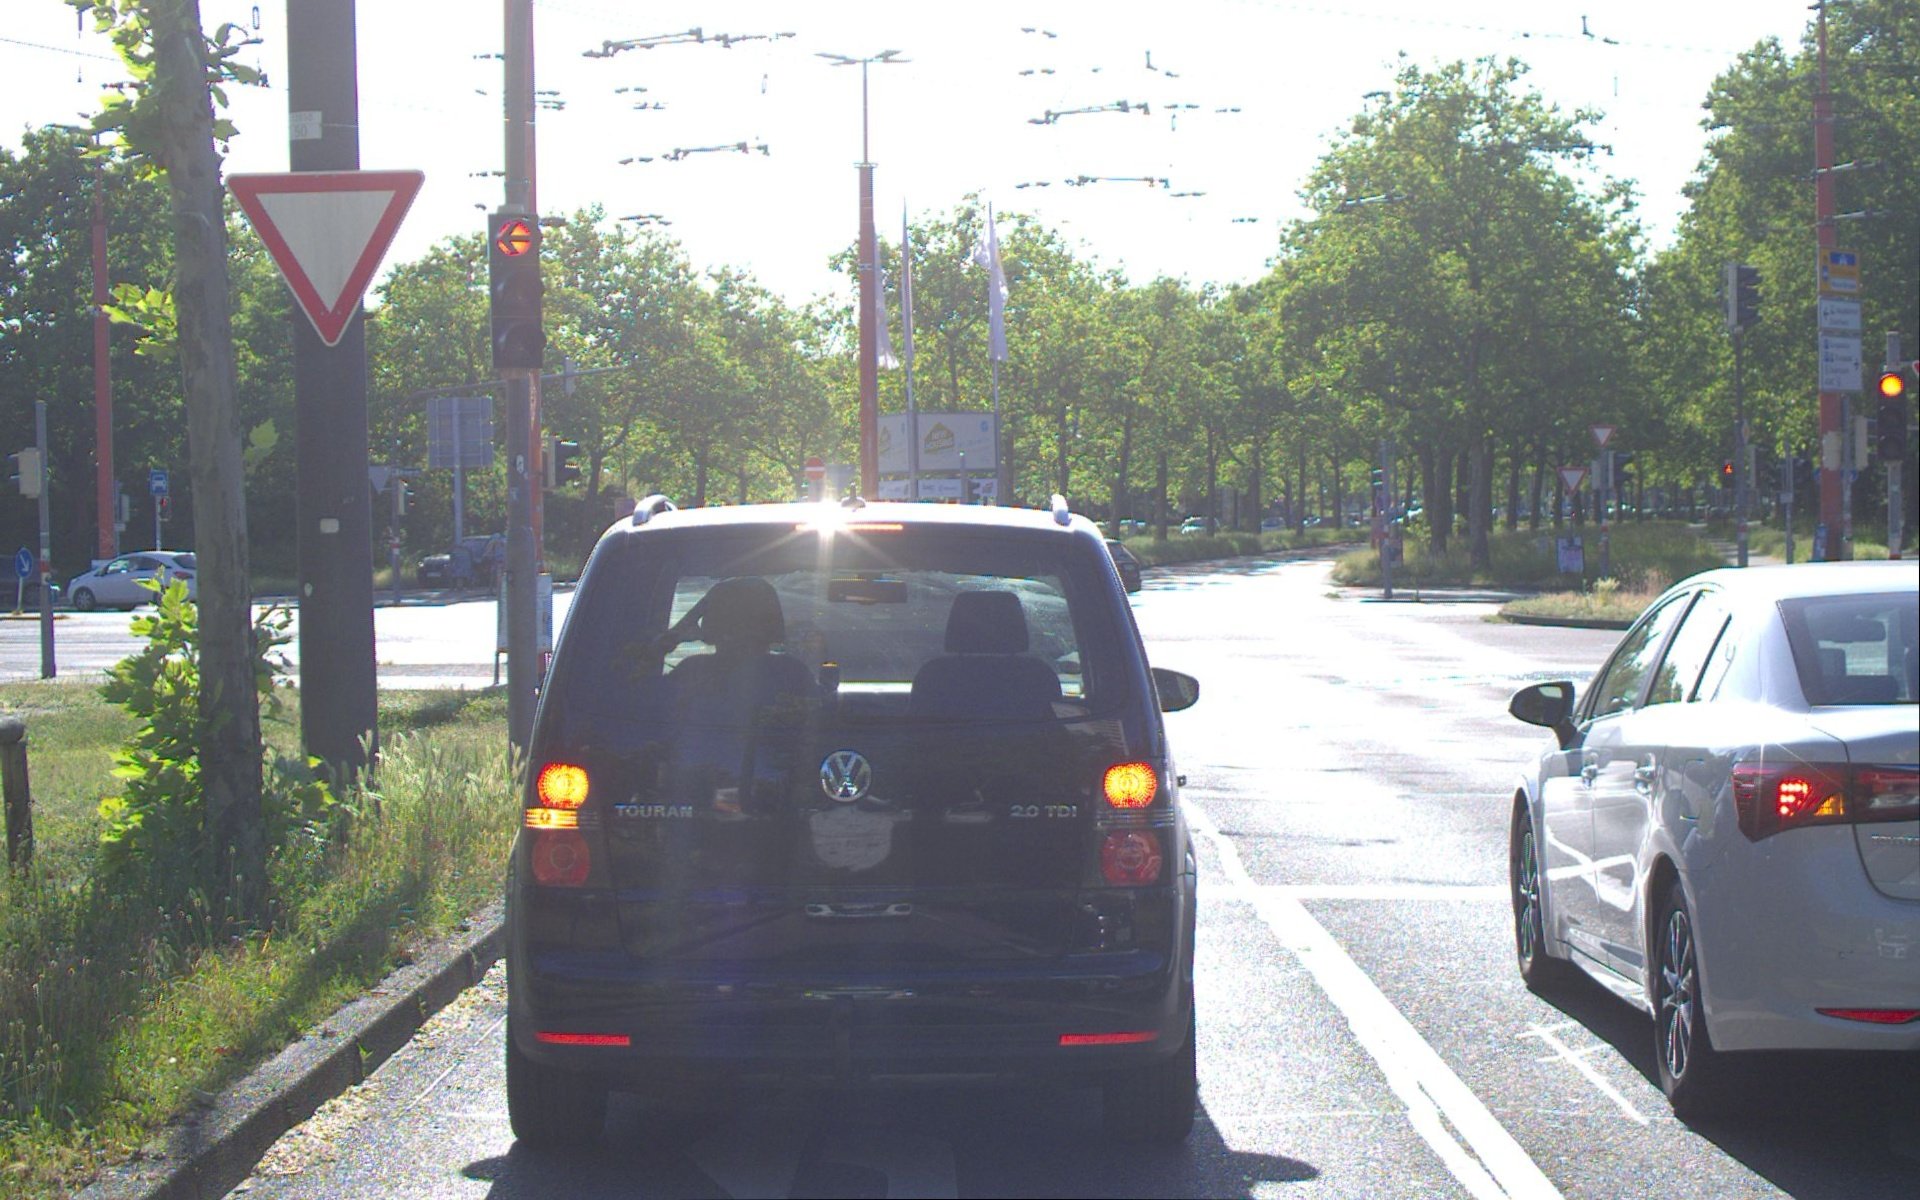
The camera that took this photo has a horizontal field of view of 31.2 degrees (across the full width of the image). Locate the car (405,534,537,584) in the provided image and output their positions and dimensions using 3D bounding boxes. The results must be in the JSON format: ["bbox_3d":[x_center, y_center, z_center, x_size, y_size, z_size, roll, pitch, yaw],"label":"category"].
[{"bbox_3d":[-14.709,-1.249,103.586,1.655,1.452,3.918,1,1,38],"label":"car"}]

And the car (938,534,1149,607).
[{"bbox_3d":[1.767,-0.648,72.846,4.140,1.505,1.655,1,1,22],"label":"car"}]

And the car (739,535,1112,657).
[{"bbox_3d":[-0.471,-0.081,44.829,4.629,1.514,1.654,1,1,27],"label":"car"}]

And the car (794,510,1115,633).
[{"bbox_3d":[-0.100,-0.426,48.828,4.335,1.686,1.654,1,1,32],"label":"car"}]

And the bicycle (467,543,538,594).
[{"bbox_3d":[-12.551,-0.867,94.356,0.977,1.384,2.978,0,1,12],"label":"bicycle"}]

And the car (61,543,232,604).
[{"bbox_3d":[-20.018,-0.661,84.581,3.919,1.452,1.654,1,1,26],"label":"car"}]

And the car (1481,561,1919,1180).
[{"bbox_3d":[2.756,0.618,10.150,1.799,1.435,4.326,1,1,1],"label":"car"}]

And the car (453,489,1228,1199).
[{"bbox_3d":[-0.254,0.537,9.971,1.738,1.597,4.326,1,1,1],"label":"car"}]

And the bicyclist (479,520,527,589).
[{"bbox_3d":[-12.544,-1.254,94.391,0.977,1.897,1.050,0,1,12],"label":"bicyclist"}]
